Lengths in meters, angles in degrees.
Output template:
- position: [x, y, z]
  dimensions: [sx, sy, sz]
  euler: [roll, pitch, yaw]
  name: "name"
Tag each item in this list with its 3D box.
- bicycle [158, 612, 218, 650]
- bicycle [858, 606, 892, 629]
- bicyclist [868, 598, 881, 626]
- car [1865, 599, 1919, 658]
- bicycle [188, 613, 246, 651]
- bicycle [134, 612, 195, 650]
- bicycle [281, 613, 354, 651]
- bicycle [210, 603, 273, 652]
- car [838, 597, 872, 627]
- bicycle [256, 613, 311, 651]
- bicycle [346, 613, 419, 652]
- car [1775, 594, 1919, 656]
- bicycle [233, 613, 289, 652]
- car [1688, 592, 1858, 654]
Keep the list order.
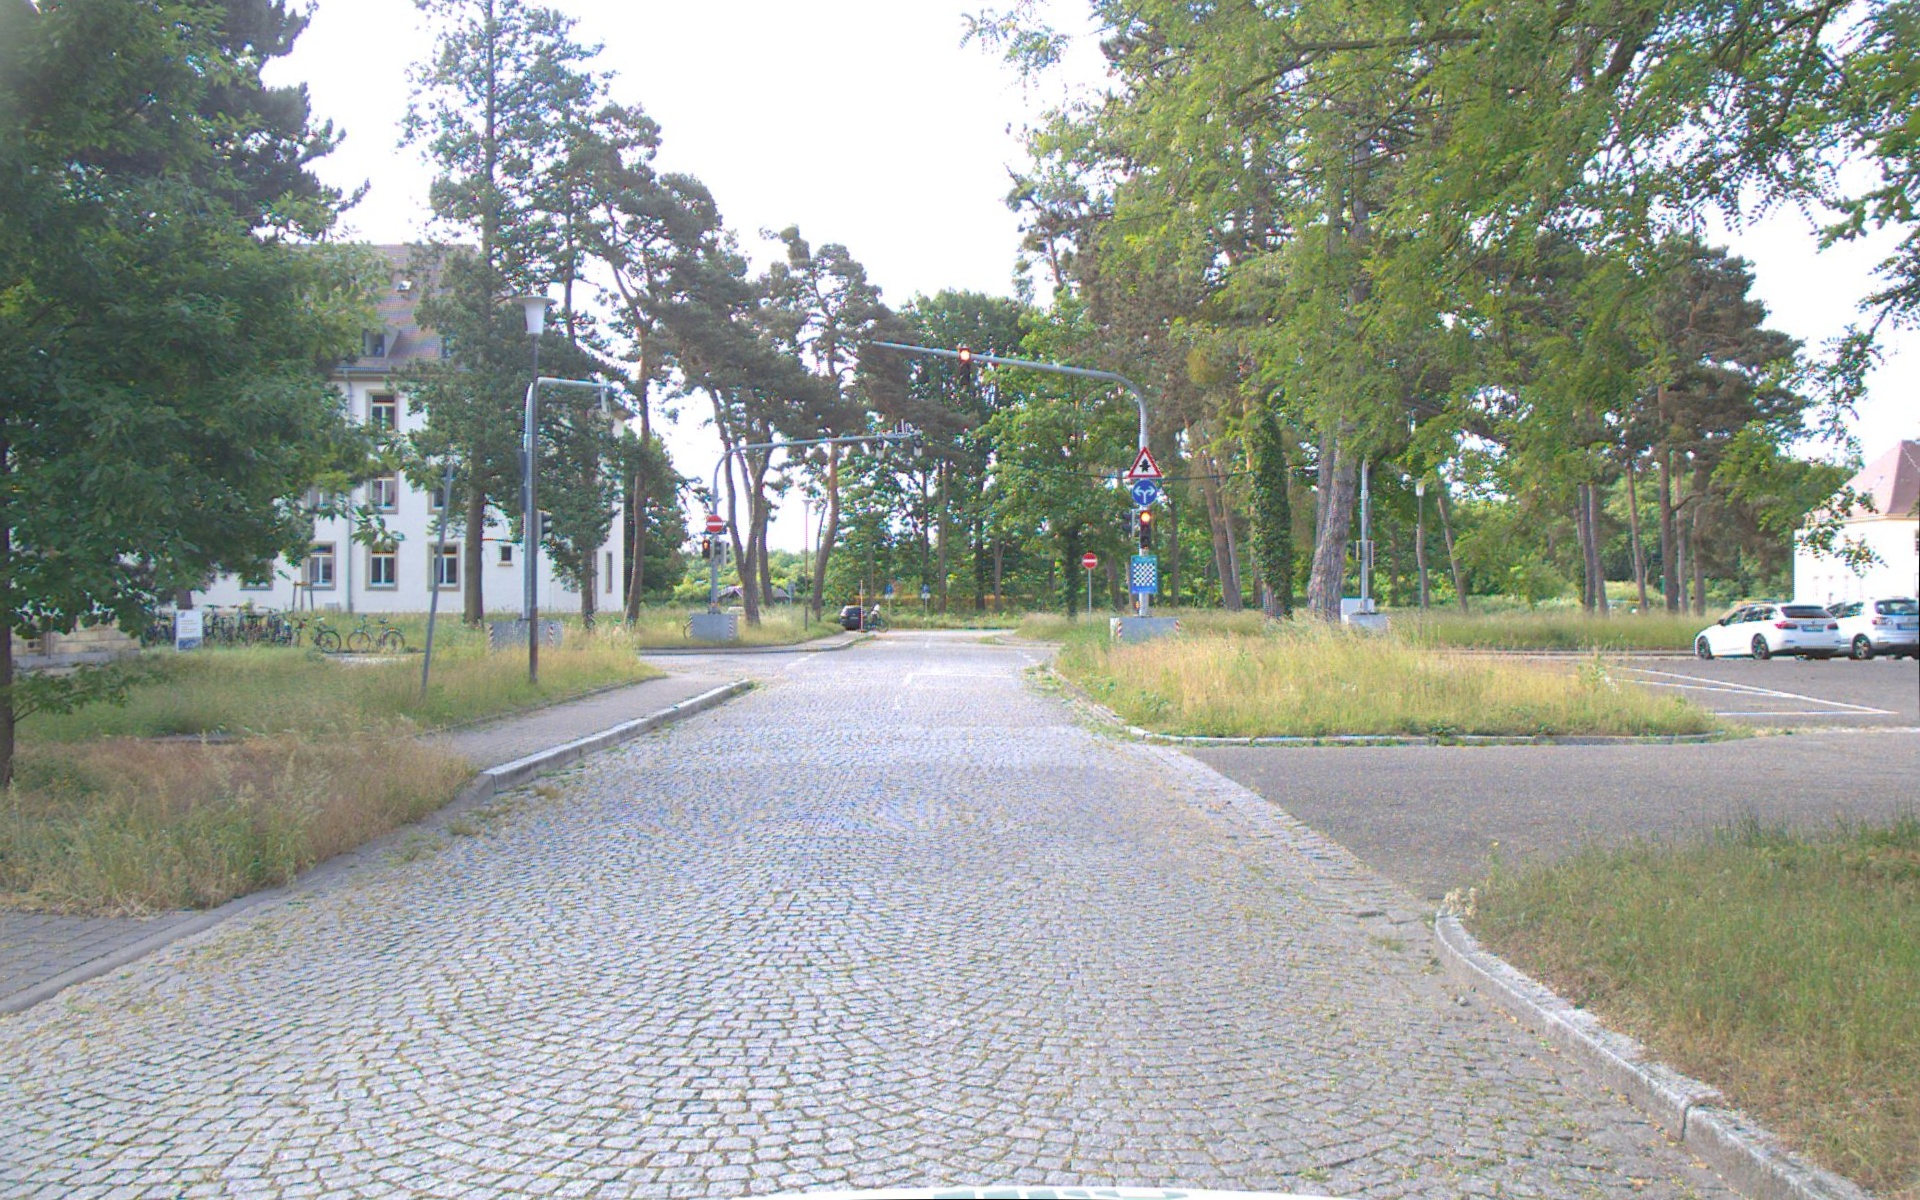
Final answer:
- position: [-22.893, 0.911, 49.086]
  dimensions: [0.721, 1.095, 2.273]
  euler: [0, 0, 0]
  name: "bicycle"
- position: [-5.074, 1.043, 98.646]
  dimensions: [1.932, 1.343, 0.517]
  euler: [1, -1, -8]
  name: "bicycle"
- position: [-5.091, 0.715, 98.647]
  dimensions: [0.734, 1.700, 0.525]
  euler: [1, -1, -7]
  name: "bicyclist"
- position: [25.849, 0.738, 43.024]
  dimensions: [1.954, 1.507, 4.421]
  euler: [0, -2, -4]
  name: "car"
- position: [-22.266, 0.938, 49.589]
  dimensions: [0.721, 1.095, 2.273]
  euler: [0, 0, 0]
  name: "bicycle"
- position: [-23.613, 0.909, 49.146]
  dimensions: [0.721, 1.095, 2.273]
  euler: [0, 0, 0]
  name: "bicycle"
- position: [-18.641, 0.931, 48.010]
  dimensions: [1.818, 1.095, 0.738]
  euler: [0, 0, 1]
  name: "bicycle"
- position: [-21.479, 0.803, 49.492]
  dimensions: [0.721, 1.410, 2.711]
  euler: [0, 0, 0]
  name: "bicycle"
- position: [-6.664, 0.737, 105.570]
  dimensions: [2.014, 1.878, 3.999]
  euler: [0, 0, -2]
  name: "car"
- position: [-20.116, 0.945, 49.238]
  dimensions: [0.721, 1.095, 2.273]
  euler: [0, 0, 0]
  name: "bicycle"
- position: [-16.790, 0.939, 48.078]
  dimensions: [1.818, 1.095, 0.831]
  euler: [0, 0, 1]
  name: "bicycle"
- position: [23.238, 0.674, 42.690]
  dimensions: [1.954, 1.507, 4.421]
  euler: [0, -2, -4]
  name: "car"
- position: [-20.744, 0.952, 49.148]
  dimensions: [0.721, 1.095, 2.273]
  euler: [0, 0, 0]
  name: "bicycle"
- position: [20.773, 0.614, 42.472]
  dimensions: [1.954, 1.507, 4.421]
  euler: [0, -2, -4]
  name: "car"
